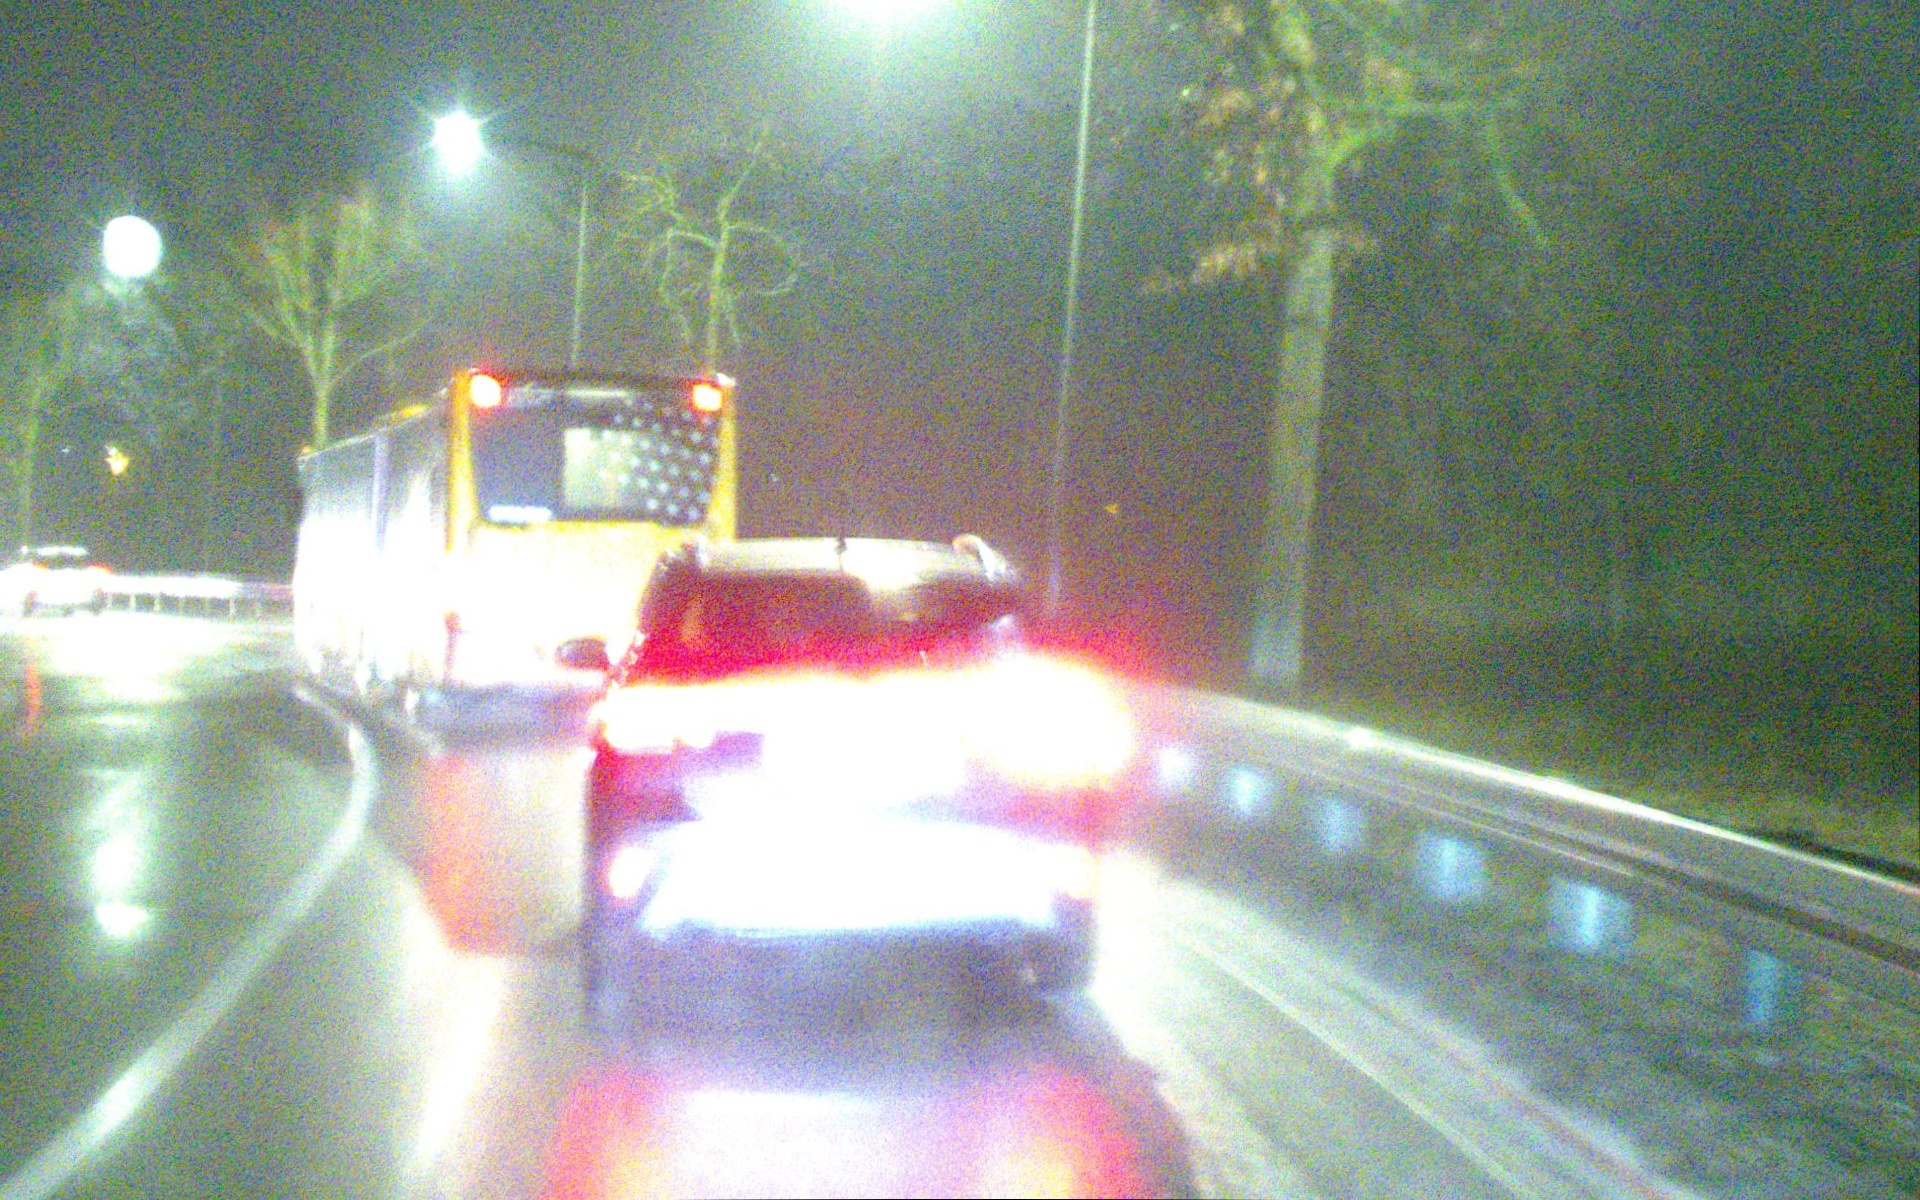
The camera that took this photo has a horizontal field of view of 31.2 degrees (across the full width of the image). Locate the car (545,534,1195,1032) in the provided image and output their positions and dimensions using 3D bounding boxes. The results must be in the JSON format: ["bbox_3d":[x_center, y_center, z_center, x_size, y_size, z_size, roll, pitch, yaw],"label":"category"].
[{"bbox_3d":[-0.403,0.539,12.711,1.993,1.519,4.001,1,1,-4],"label":"car"}]

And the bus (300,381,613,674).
[{"bbox_3d":[-6.371,-0.876,42.219,3.042,3.201,9.053,0,1,-13],"label":"bus"}]

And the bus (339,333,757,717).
[{"bbox_3d":[-4.249,-0.710,33.383,3.042,3.201,9.053,0,1,-13],"label":"bus"}]
